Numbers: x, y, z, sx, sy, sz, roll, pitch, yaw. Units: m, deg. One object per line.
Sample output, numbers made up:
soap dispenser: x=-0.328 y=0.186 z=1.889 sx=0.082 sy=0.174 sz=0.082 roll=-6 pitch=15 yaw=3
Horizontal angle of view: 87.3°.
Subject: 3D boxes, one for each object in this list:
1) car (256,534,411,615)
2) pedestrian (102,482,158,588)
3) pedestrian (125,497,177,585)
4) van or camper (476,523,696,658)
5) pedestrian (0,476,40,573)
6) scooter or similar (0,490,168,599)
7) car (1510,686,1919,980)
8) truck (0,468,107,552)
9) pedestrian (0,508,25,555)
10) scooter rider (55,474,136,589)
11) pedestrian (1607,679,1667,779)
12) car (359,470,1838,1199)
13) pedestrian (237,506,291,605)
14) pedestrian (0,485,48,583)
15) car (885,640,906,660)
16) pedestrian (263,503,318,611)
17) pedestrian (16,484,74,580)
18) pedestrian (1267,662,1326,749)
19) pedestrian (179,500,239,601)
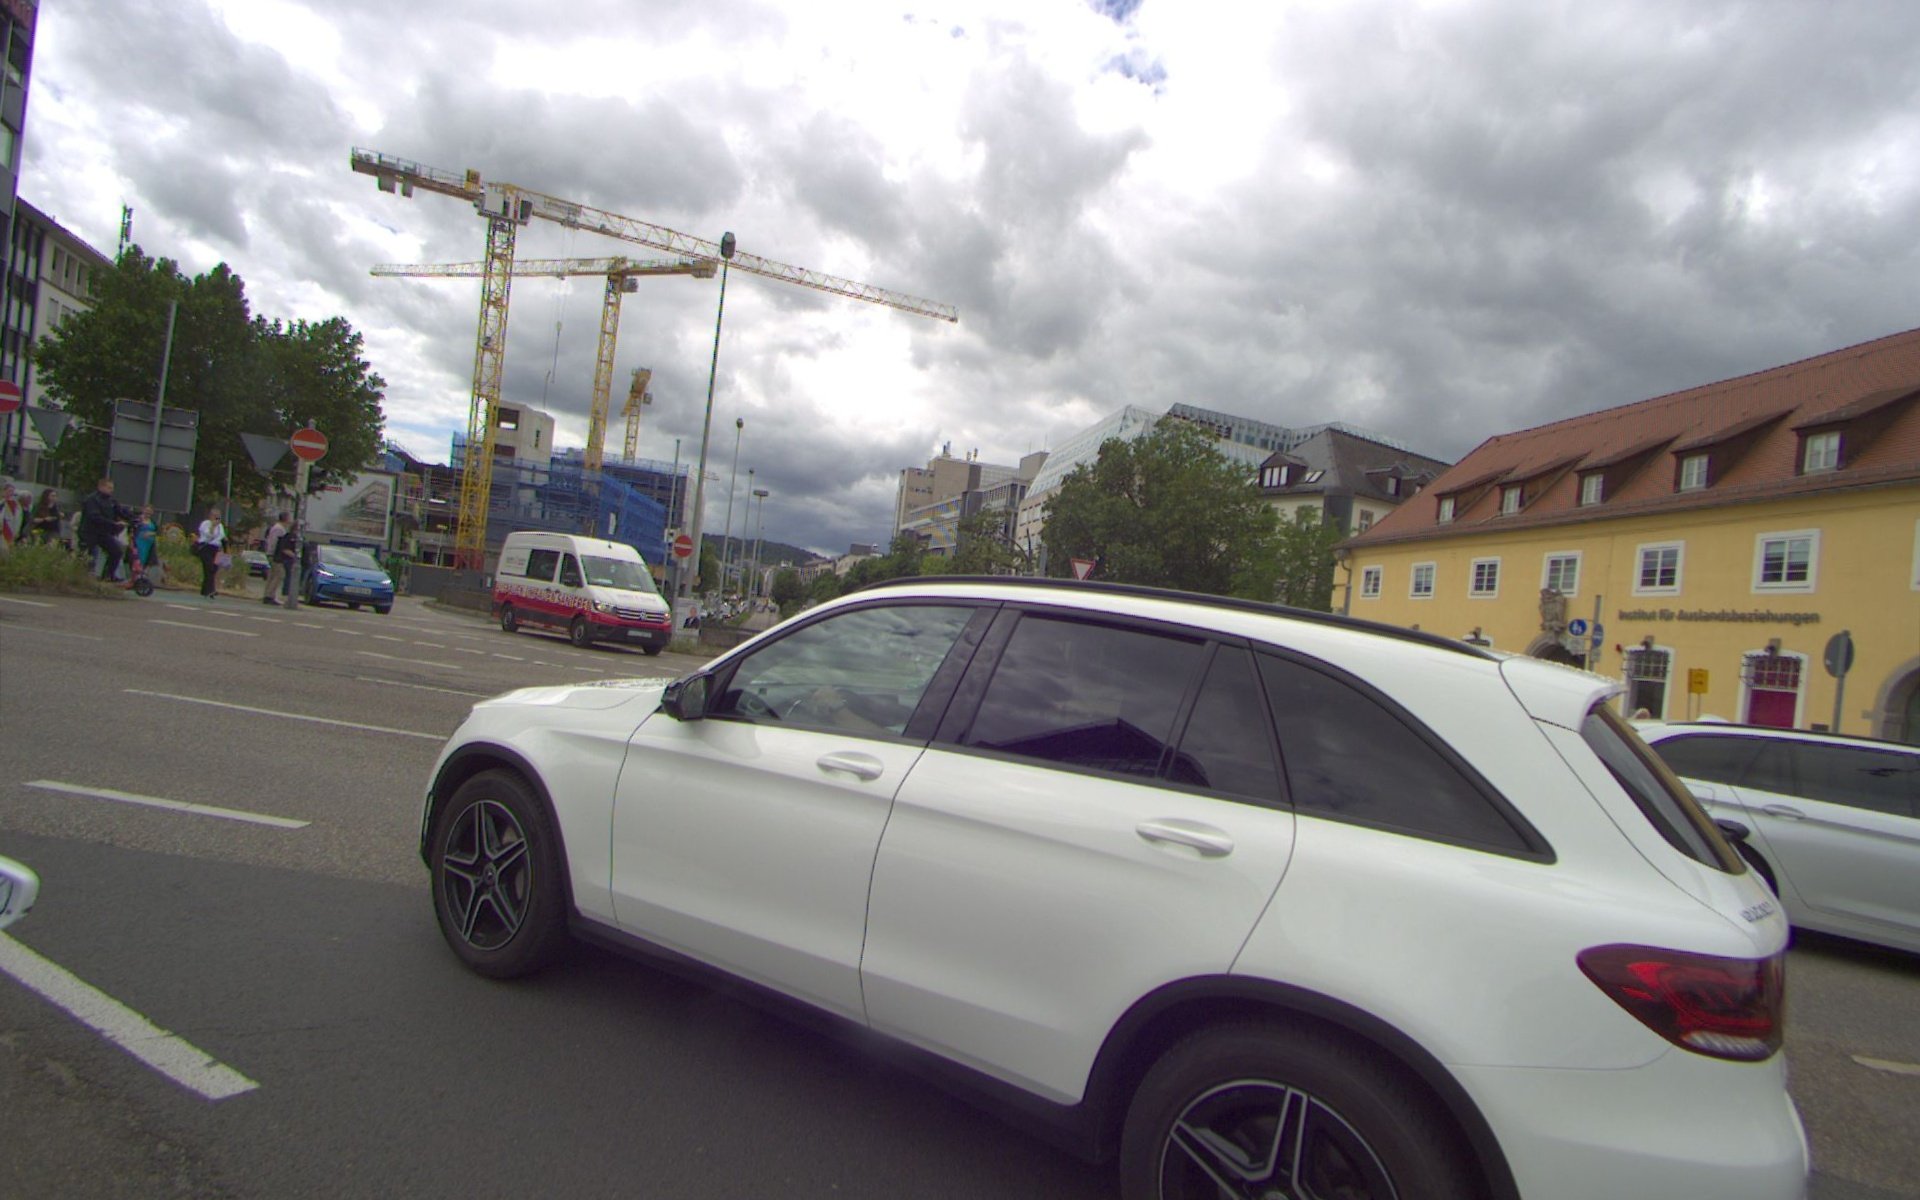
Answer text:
car: x=-15.996 y=-0.670 z=25.591 sx=4.562 sy=1.500 sz=1.941 roll=7 pitch=-1 yaw=41
pedestrian: x=-16.490 y=-1.281 z=19.992 sx=0.639 sy=1.988 sz=0.603 roll=8 pitch=-1 yaw=-42
pedestrian: x=-16.693 y=-1.210 z=20.748 sx=0.639 sy=1.715 sz=0.603 roll=8 pitch=-1 yaw=-42
van or camper: x=-9.082 y=-0.303 z=24.058 sx=6.077 sy=2.505 sz=2.138 roll=7 pitch=-2 yaw=42
pedestrian: x=-18.936 y=-1.505 z=20.025 sx=0.698 sy=1.837 sz=0.662 roll=8 pitch=-1 yaw=-39
scooter or similar: x=-14.111 y=-0.872 z=16.253 sx=1.871 sy=1.423 sz=0.770 roll=9 pitch=-2 yaw=-35
car: x=6.766 y=1.712 z=6.860 sx=4.963 sy=1.521 sz=1.995 roll=6 pitch=-2 yaw=37
truck: x=-41.858 y=-4.038 z=45.078 sx=2.312 sy=3.099 sz=8.172 roll=8 pitch=-2 yaw=-18
pedestrian: x=-37.438 y=-2.698 z=39.359 sx=0.864 sy=1.767 sz=0.842 roll=8 pitch=0 yaw=-27
scooter rider: x=-13.999 y=-1.099 z=16.316 sx=0.739 sy=1.714 sz=0.759 roll=8 pitch=-1 yaw=-34
pedestrian: x=13.741 y=2.610 z=20.424 sx=0.552 sy=1.918 sz=0.634 roll=7 pitch=0 yaw=-29
car: x=-0.004 y=0.640 z=3.545 sx=4.263 sy=1.666 sz=1.804 roll=8 pitch=0 yaw=33
pedestrian: x=-14.298 y=-0.908 z=20.675 sx=0.639 sy=1.932 sz=0.603 roll=8 pitch=-1 yaw=-42
pedestrian: x=-18.326 y=-1.287 z=19.490 sx=0.758 sy=1.782 sz=0.662 roll=8 pitch=-1 yaw=-39
car: x=-6.718 y=5.208 z=104.724 sx=1.965 sy=1.654 sz=3.997 roll=8 pitch=0 yaw=-5
pedestrian: x=-12.982 y=-0.831 z=19.497 sx=0.638 sy=1.978 sz=0.604 roll=8 pitch=-1 yaw=-38
pedestrian: x=-17.491 y=-1.293 z=19.235 sx=0.639 sy=1.715 sz=0.604 roll=8 pitch=-1 yaw=-42
pedestrian: x=7.598 y=2.362 z=22.731 sx=0.740 sy=1.810 sz=0.826 roll=8 pitch=-1 yaw=-11
pedestrian: x=-14.406 y=-0.951 z=19.291 sx=0.639 sy=1.816 sz=0.603 roll=10 pitch=-3 yaw=-42
